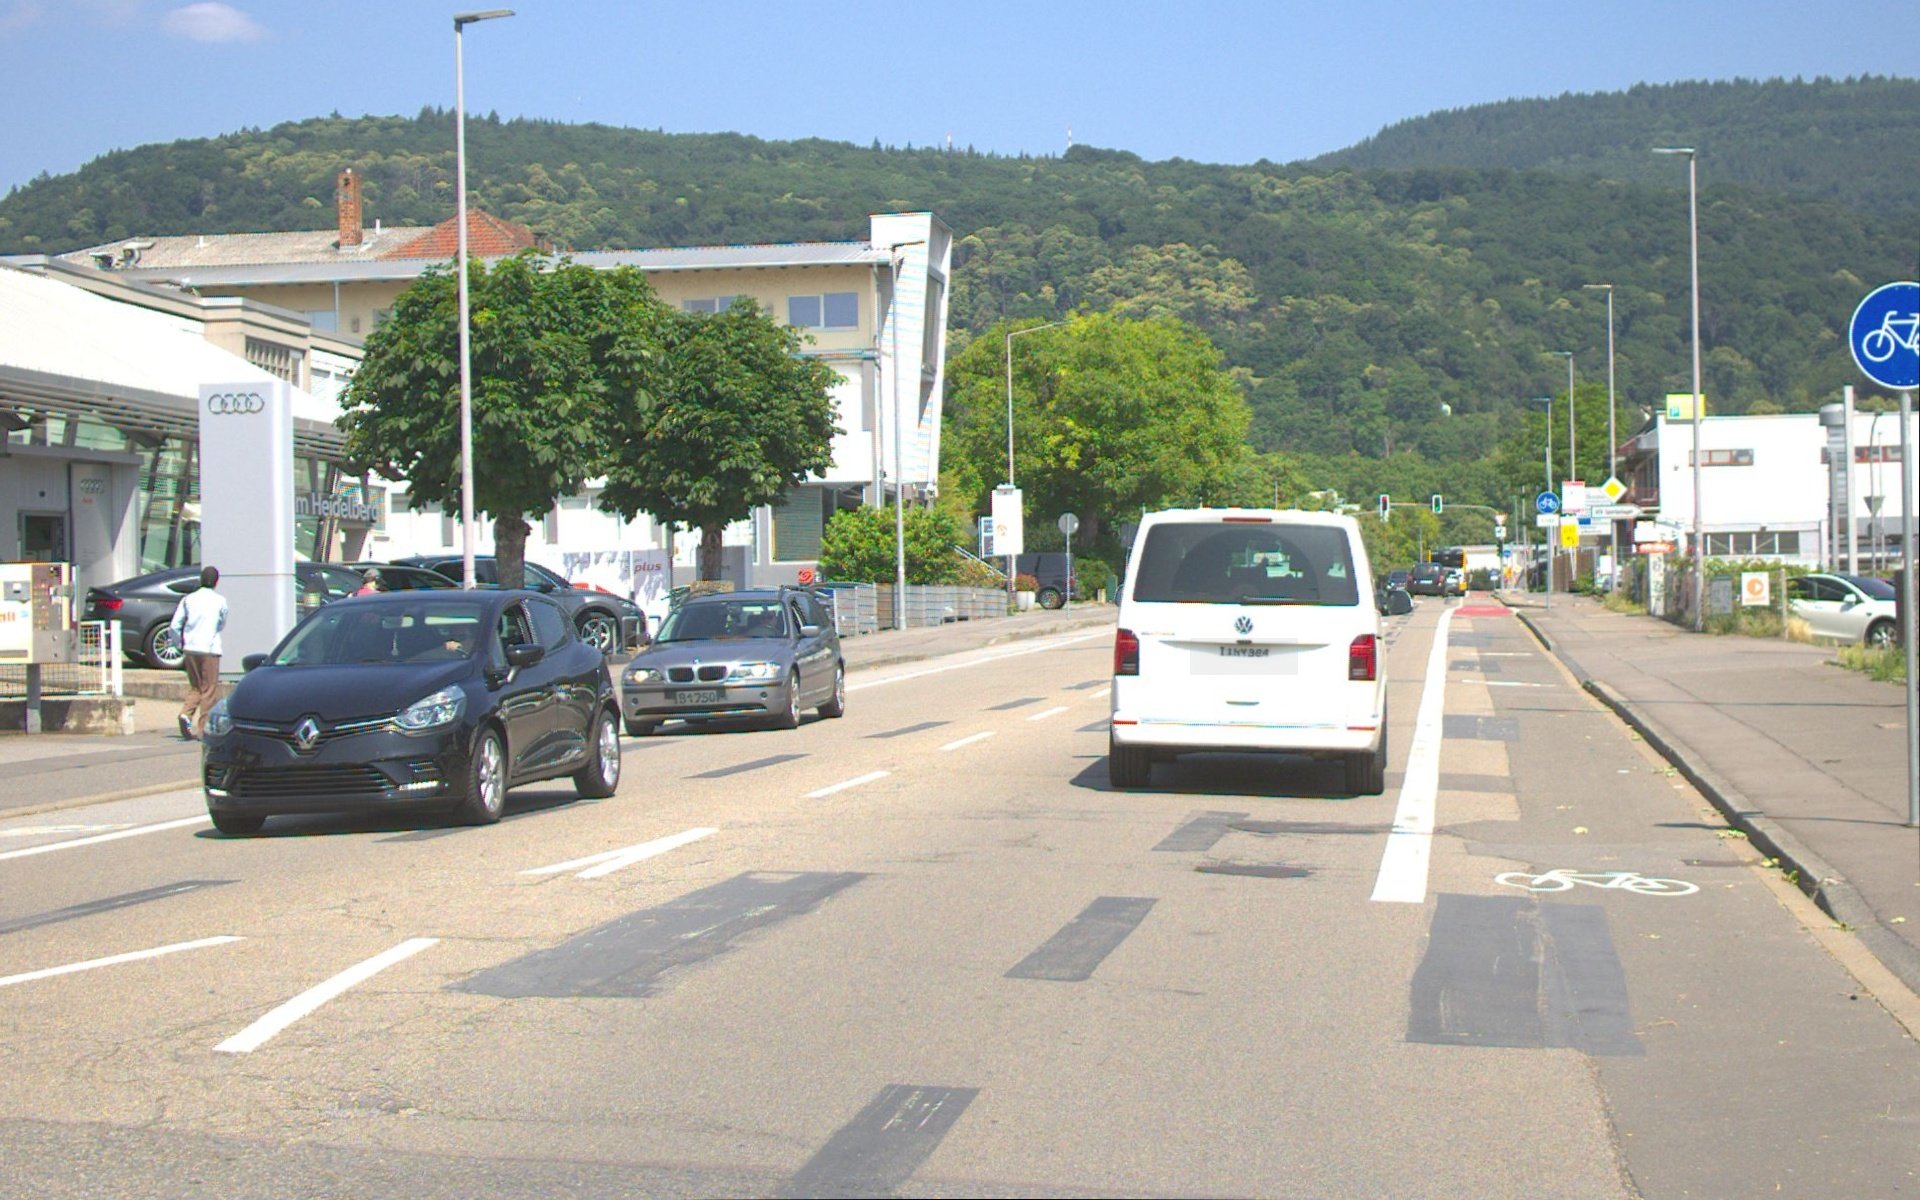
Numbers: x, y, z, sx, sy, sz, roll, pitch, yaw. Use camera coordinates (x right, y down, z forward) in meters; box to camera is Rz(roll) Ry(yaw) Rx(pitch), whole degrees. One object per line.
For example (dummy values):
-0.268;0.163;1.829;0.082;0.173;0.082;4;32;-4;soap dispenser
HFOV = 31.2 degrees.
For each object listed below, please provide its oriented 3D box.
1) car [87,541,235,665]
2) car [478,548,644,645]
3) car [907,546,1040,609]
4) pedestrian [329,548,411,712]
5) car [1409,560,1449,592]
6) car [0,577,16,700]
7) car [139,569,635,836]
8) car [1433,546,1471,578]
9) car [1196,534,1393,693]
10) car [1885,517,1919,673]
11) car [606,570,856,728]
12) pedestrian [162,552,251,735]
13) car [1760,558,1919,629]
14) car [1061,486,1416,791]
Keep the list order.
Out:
-10.911;0.028;46.795;1.745;1.579;3.662;-1;1;-16;car
-6.880;-0.058;59.008;1.745;1.579;3.662;-1;1;-25;car
0.439;-0.771;115.546;4.312;2.007;2.000;-1;0;-3;car
-6.551;0.328;38.192;0.759;1.782;0.927;-1;0;-3;pedestrian
20.980;-1.081;153.919;1.719;1.298;3.999;-2;1;8;car
-13.497;0.502;45.388;1.745;1.579;3.662;-1;1;-12;car
-3.492;0.598;21.731;1.842;1.459;3.998;-3;-1;9;car
27.172;-2.094;190.004;1.994;1.678;3.999;-1;0;8;car
3.948;0.182;40.015;1.994;1.702;3.998;2;-1;9;car
12.885;-0.079;39.241;4.302;1.746;1.977;-1;-1;10;car
-2.302;0.464;35.564;1.841;1.459;3.999;-2;1;7;car
-7.489;0.425;34.188;0.759;1.782;0.784;-1;0;-8;pedestrian
17.151;-0.126;64.905;1.654;1.305;3.702;-2;1;-41;car
2.174;0.242;25.379;2.163;2.007;5.016;0;0;10;car
